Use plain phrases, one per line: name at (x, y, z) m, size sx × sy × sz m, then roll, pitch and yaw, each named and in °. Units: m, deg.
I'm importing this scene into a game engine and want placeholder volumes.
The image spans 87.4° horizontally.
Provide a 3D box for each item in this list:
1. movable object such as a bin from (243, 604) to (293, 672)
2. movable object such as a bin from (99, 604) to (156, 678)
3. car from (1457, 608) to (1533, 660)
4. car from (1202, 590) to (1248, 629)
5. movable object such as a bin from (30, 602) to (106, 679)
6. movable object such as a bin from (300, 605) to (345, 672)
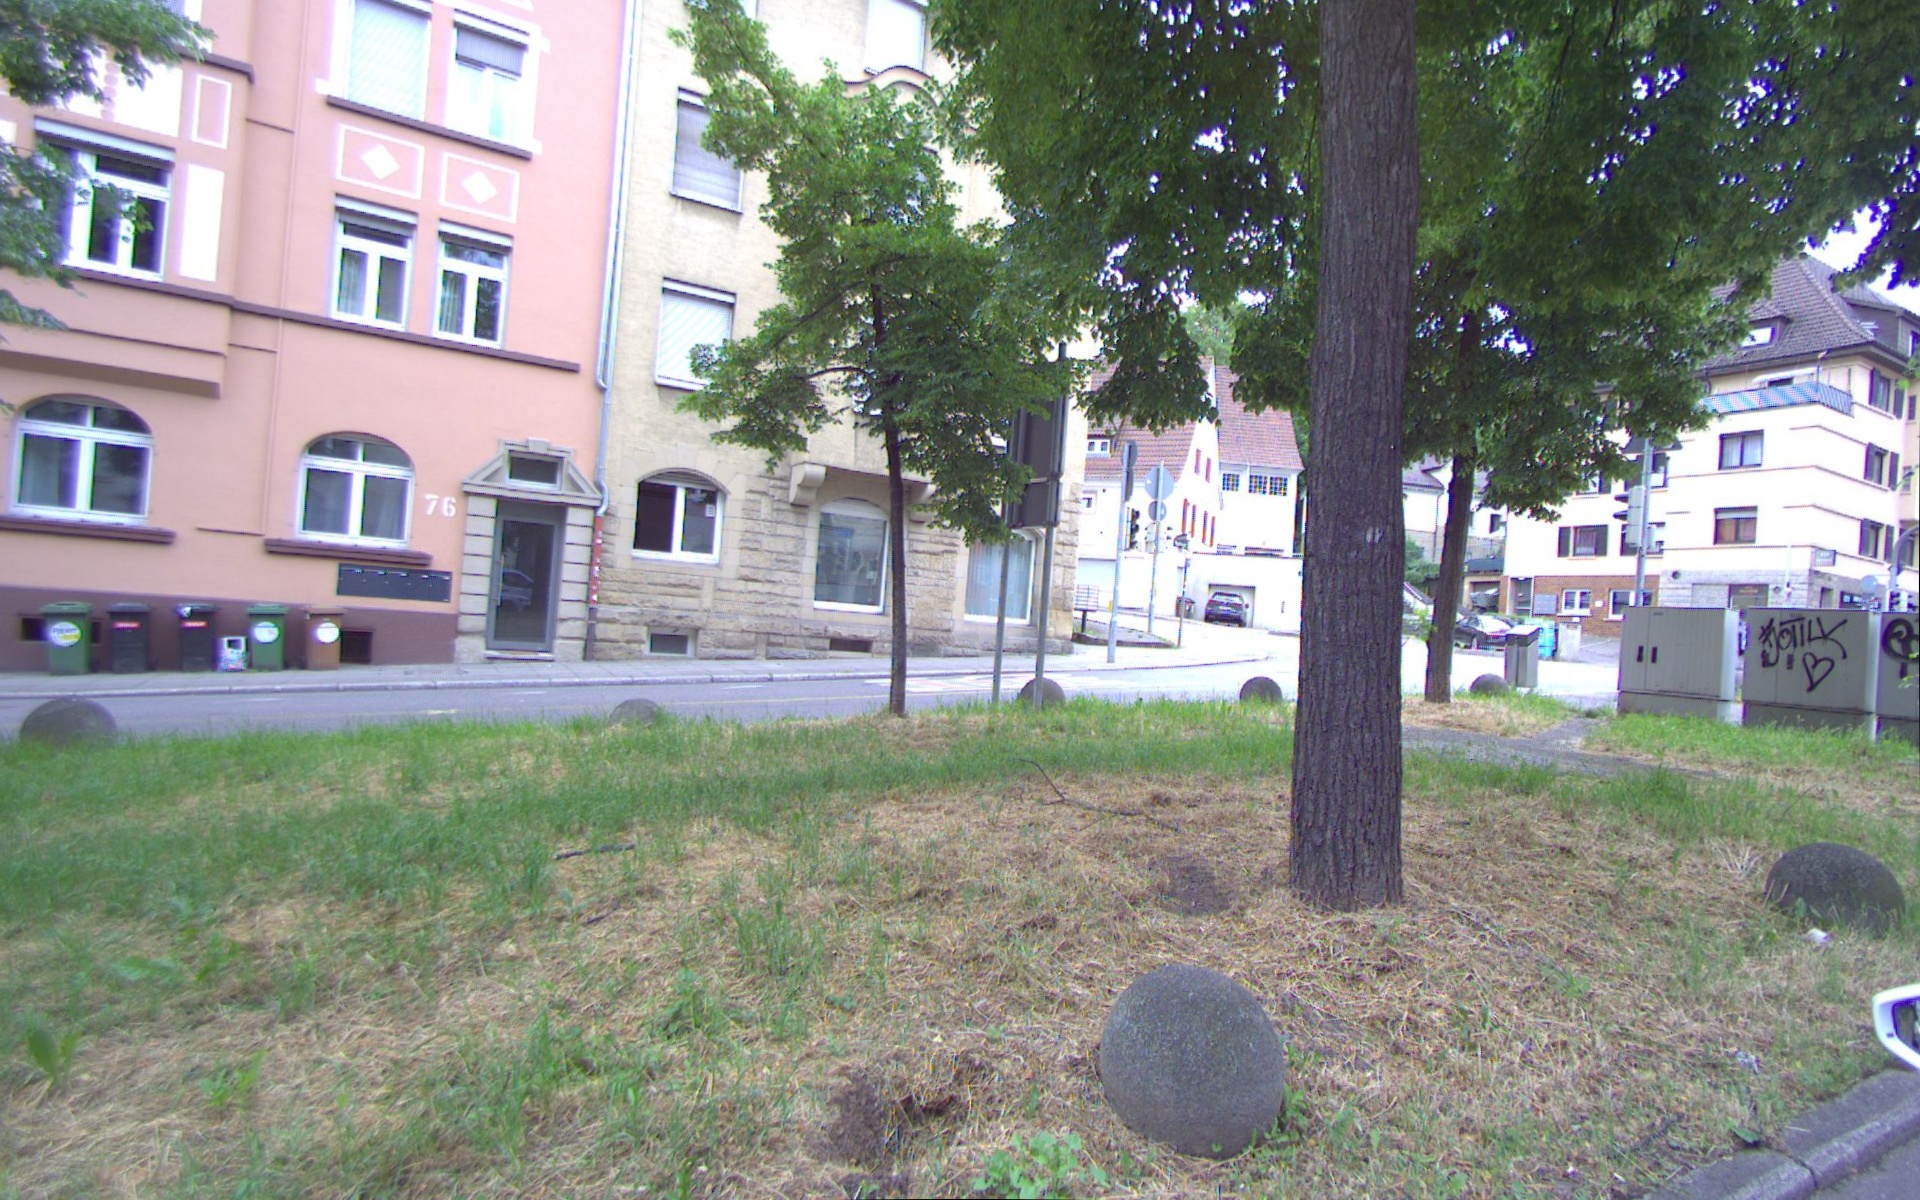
movable object such as a bin at (-9.807, 0.530, 14.245) m, size 0.554 × 0.934 × 0.649 m, roll 2°, pitch 0°, yaw -34°
movable object such as a bin at (-11.145, 0.544, 13.457) m, size 0.527 × 0.958 × 0.576 m, roll 2°, pitch 0°, yaw -36°
car at (21.843, 1.332, 41.149) m, size 1.832 × 1.619 × 3.519 m, roll 2°, pitch 6°, yaw 13°
car at (11.769, 0.379, 44.799) m, size 1.638 × 1.424 × 3.058 m, roll 7°, pitch 3°, yaw 11°
movable object such as a bin at (-11.647, 0.522, 13.132) m, size 0.611 × 0.961 × 0.613 m, roll 2°, pitch 0°, yaw -31°
movable object such as a bin at (-9.260, 0.548, 14.582) m, size 0.510 × 0.934 × 0.752 m, roll 2°, pitch 0°, yaw -34°
